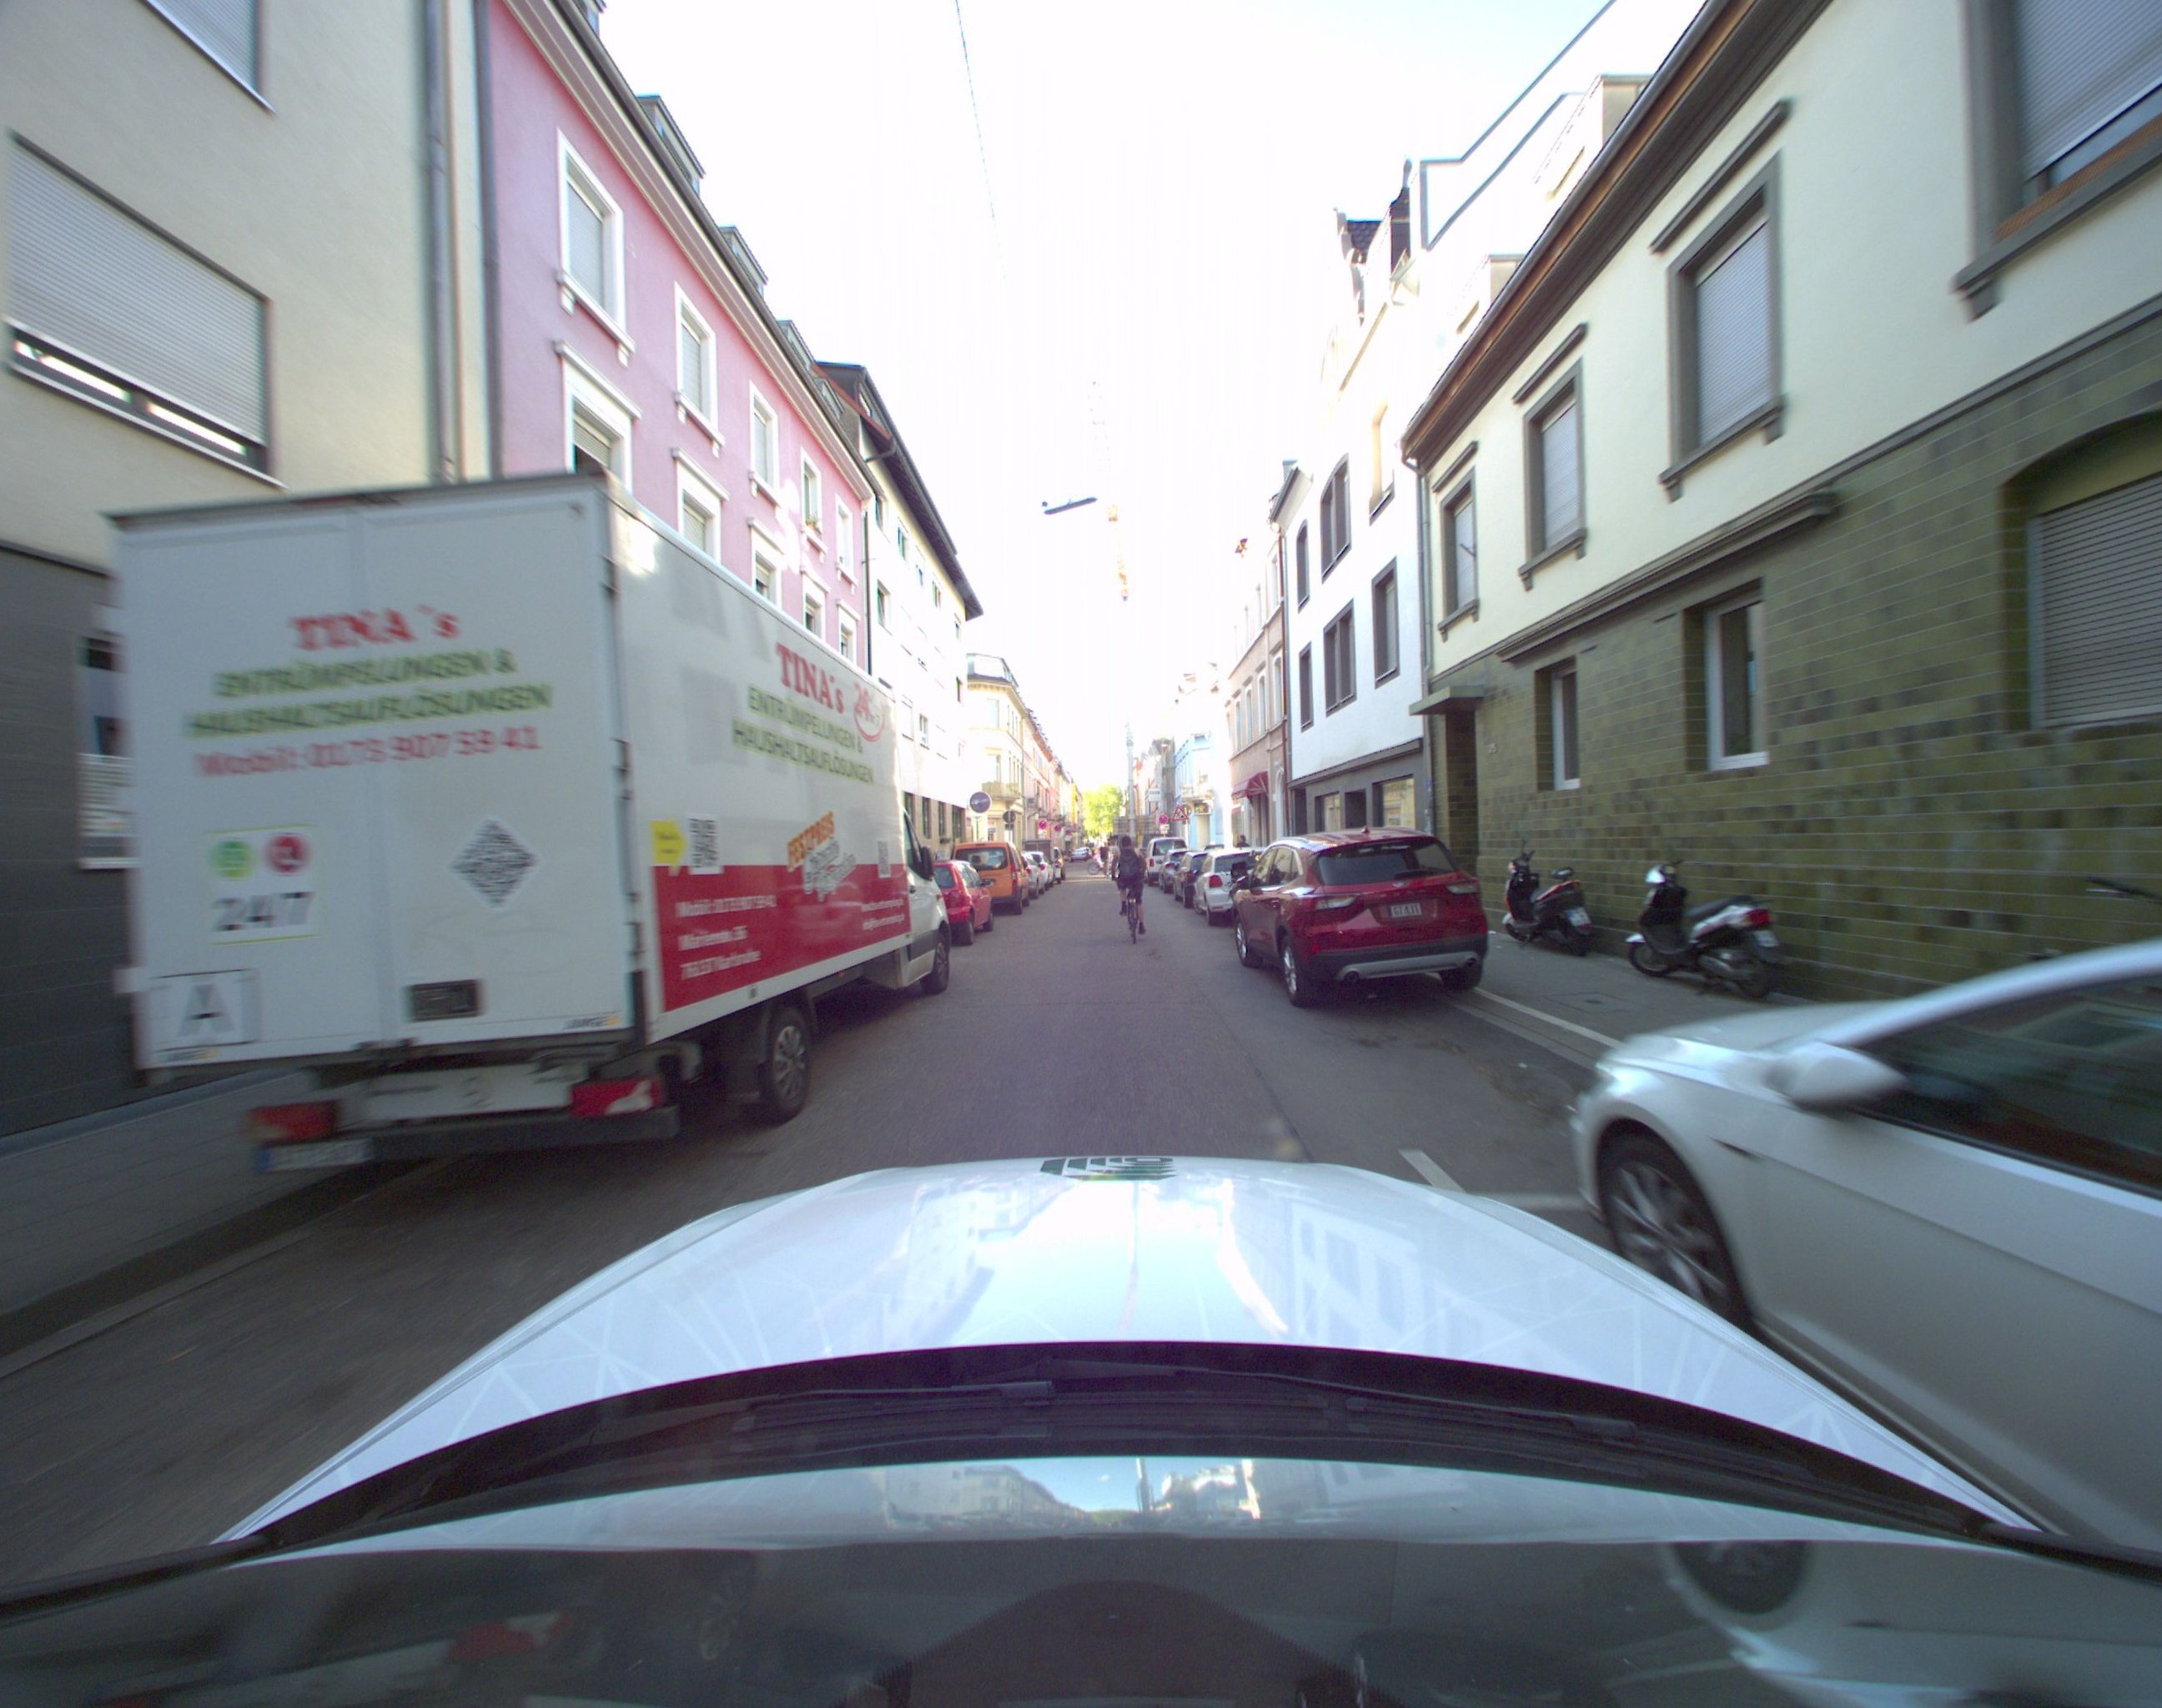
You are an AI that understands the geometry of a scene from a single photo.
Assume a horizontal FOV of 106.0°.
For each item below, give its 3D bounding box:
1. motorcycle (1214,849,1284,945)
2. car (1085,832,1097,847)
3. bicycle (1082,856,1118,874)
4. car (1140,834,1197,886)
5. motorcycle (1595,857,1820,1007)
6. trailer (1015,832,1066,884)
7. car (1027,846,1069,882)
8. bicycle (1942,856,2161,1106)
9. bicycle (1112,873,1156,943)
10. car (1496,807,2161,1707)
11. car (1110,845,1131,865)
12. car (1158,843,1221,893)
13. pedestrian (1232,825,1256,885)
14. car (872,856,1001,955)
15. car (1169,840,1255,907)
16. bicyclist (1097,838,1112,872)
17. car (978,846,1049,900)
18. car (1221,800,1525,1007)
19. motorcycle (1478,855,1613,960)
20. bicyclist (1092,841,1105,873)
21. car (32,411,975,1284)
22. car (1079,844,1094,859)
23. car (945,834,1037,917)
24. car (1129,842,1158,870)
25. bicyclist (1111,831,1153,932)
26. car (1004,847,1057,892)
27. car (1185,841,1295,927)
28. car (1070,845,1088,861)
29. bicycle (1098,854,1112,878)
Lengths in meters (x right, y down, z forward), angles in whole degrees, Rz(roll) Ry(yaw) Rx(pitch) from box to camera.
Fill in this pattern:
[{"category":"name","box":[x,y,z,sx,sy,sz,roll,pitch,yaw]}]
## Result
[{"category":"motorcycle","box":[2.812,0.663,13.872,0.744,1.490,2.423,-1,0,2]},{"category":"car","box":[1.646,-2.410,136.066,1.744,2.317,3.797,-3,0,1]},{"category":"bicycle","box":[1.039,0.593,45.010,1.990,0.958,0.478,-1,0,-2]},{"category":"car","box":[3.456,0.231,32.921,1.745,1.878,3.971,-3,0,-1]},{"category":"motorcycle","box":[5.363,0.600,7.130,0.556,1.095,1.776,-5,0,1]},{"category":"trailer","box":[-1.763,0.169,36.227,1.875,2.092,3.738,-3,0,1]},{"category":"car","box":[-1.610,0.472,40.540,1.744,1.573,3.797,-3,0,1]},{"category":"bicycle","box":[5.385,0.607,4.008,0.519,1.173,1.686,-1,0,1]},{"category":"bicycle","box":[0.893,0.898,14.130,0.674,1.074,1.942,-1,0,1]},{"category":"car","box":[2.536,0.687,1.286,1.680,1.543,4.047,-4,0,1]},{"category":"car","box":[3.170,0.066,66.564,1.605,1.560,3.611,-1,0,1]},{"category":"car","box":[3.640,0.432,27.853,1.743,1.486,3.803,-3,0,3]},{"category":"pedestrian","box":[5.589,0.020,27.924,0.642,2.013,0.764,-1,0,1]},{"category":"car","box":[-2.552,0.850,15.188,1.573,1.483,3.566,-5,0,1]},{"category":"car","box":[3.412,0.464,21.882,1.640,1.475,3.972,-6,0,1]},{"category":"bicyclist","box":[1.131,0.041,38.533,0.668,1.567,0.716,-1,0,1]},{"category":"car","box":[-2.109,0.555,26.538,1.744,1.537,4.320,-3,0,1]},{"category":"car","box":[2.887,0.408,9.188,1.911,1.706,4.367,-2,0,1]},{"category":"motorcycle","box":[5.480,0.576,9.746,0.499,1.095,1.879,-5,0,1]},{"category":"bicyclist","box":[0.979,0.165,44.999,0.679,1.706,0.381,-1,0,-2]},{"category":"car","box":[-2.765,-0.028,6.797,2.334,3.291,7.158,-4,0,2]},{"category":"car","box":[0.774,-0.340,106.653,1.744,1.821,3.797,-3,0,1]},{"category":"car","box":[-2.229,0.504,21.132,1.746,1.816,4.079,-4,0,1]},{"category":"car","box":[3.820,0.121,50.207,1.605,1.633,3.611,-1,0,1]},{"category":"bicyclist","box":[0.873,0.462,14.151,0.665,1.676,1.097,-1,0,1]},{"category":"car","box":[-1.907,0.560,31.557,1.647,1.537,3.635,-3,0,1]},{"category":"car","box":[3.286,0.573,17.484,1.660,1.505,3.819,-5,0,3]},{"category":"car","box":[-0.171,-0.134,89.454,1.744,1.683,3.797,-3,0,1]},{"category":"bicycle","box":[1.141,0.550,38.494,0.646,1.129,2.136,-1,0,1]}]
